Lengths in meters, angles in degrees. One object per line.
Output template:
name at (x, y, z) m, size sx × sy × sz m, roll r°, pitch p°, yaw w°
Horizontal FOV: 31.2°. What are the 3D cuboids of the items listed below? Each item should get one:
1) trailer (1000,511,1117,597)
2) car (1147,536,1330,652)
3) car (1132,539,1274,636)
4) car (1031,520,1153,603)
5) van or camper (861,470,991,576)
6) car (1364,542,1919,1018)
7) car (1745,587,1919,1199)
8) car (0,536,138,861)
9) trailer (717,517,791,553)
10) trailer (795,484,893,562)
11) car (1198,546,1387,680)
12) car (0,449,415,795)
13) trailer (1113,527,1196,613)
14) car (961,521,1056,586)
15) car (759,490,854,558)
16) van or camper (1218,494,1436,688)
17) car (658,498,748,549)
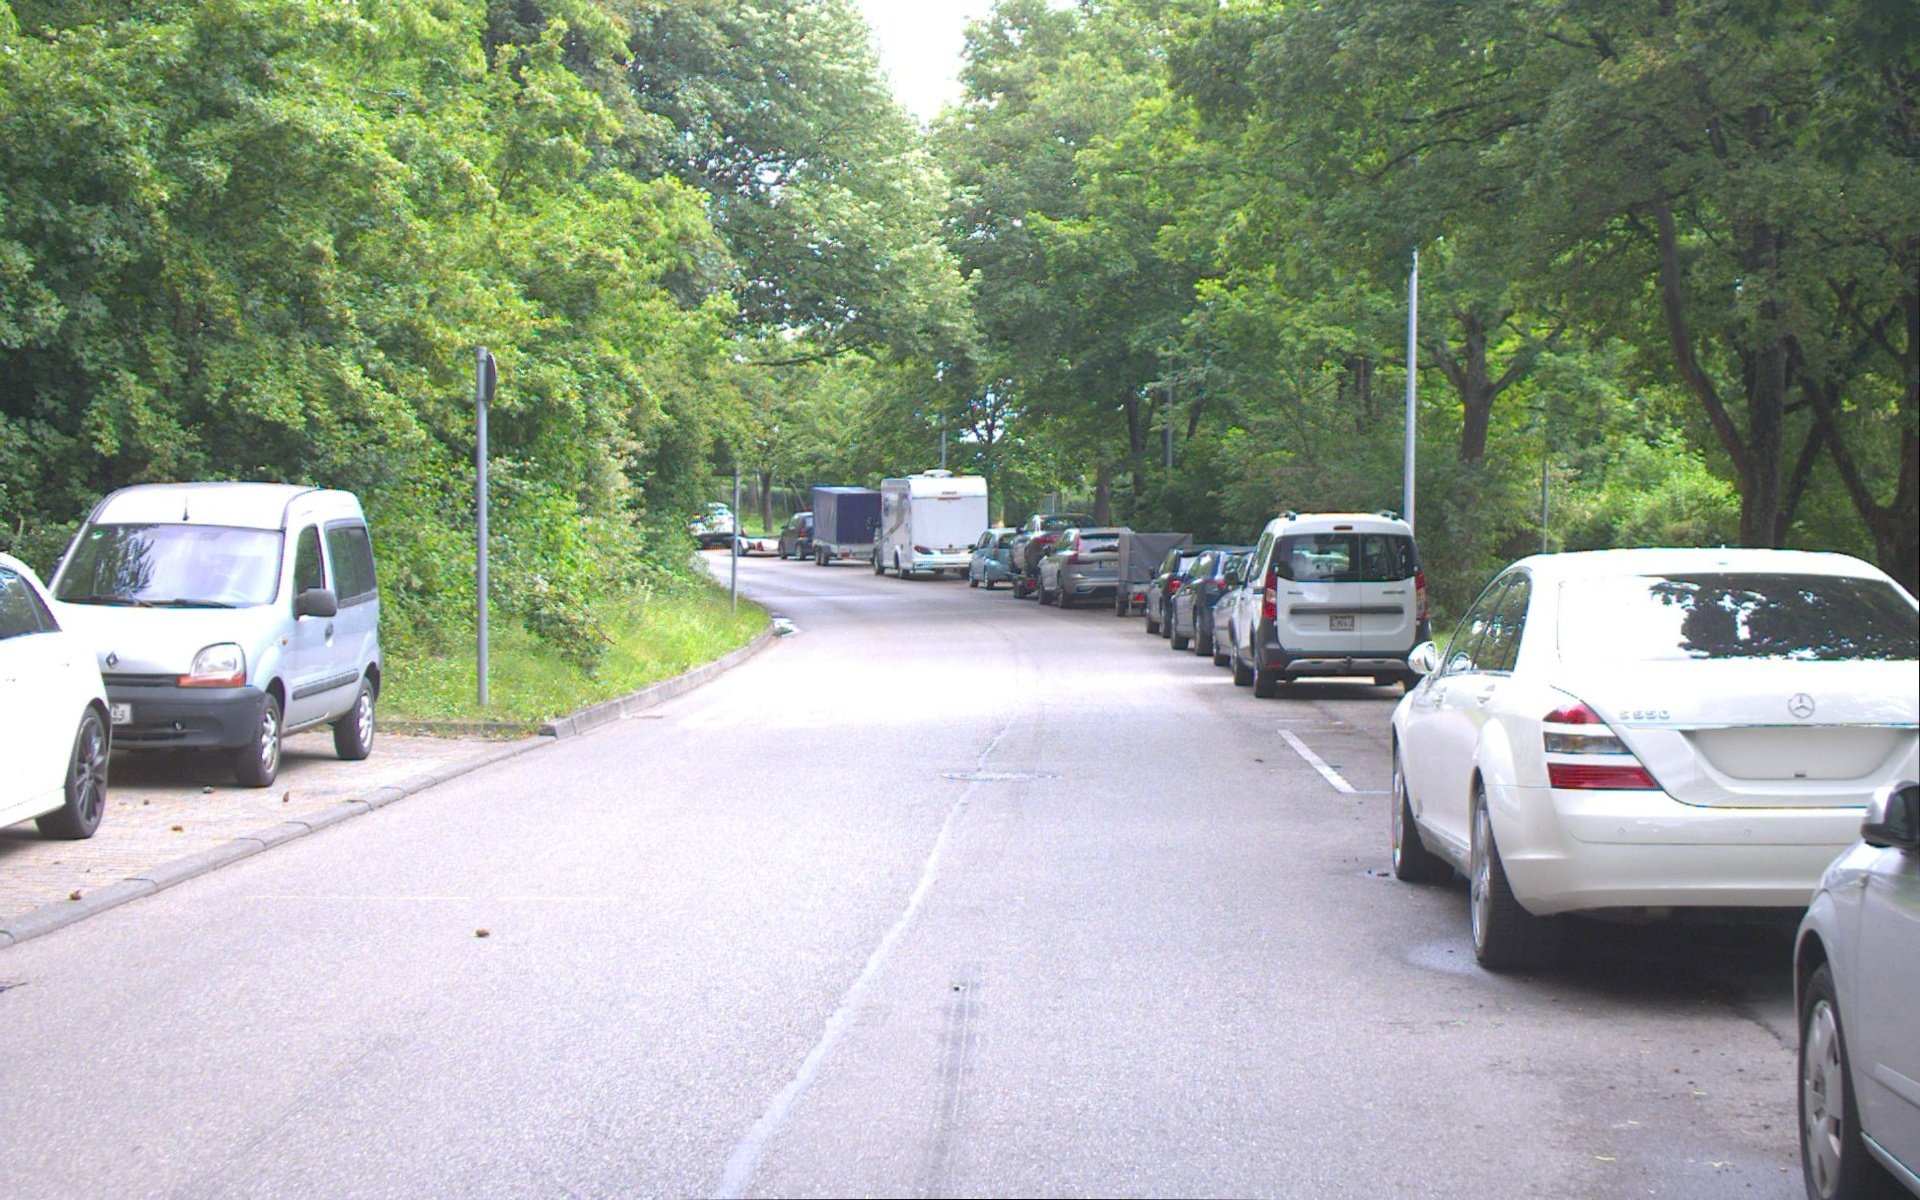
trailer at (2.186, -1.070, 77.554) m, size 1.978 × 1.805 × 5.150 m, roll 0°, pitch 2°, yaw -6°
car at (3.753, -0.119, 47.117) m, size 1.847 × 1.469 × 4.480 m, roll 1°, pitch 1°, yaw -4°
car at (3.791, -0.224, 54.204) m, size 1.720 × 1.448 × 3.918 m, roll 1°, pitch 1°, yaw -3°
car at (2.692, -0.772, 71.045) m, size 1.791 × 1.664 × 4.503 m, roll 0°, pitch 0°, yaw -7°
van or camper at (-1.020, -2.198, 97.117) m, size 2.481 × 2.866 × 6.892 m, roll 0°, pitch 1°, yaw -11°
car at (2.797, 0.539, 13.647) m, size 1.886 × 1.501 × 5.176 m, roll 0°, pitch 1°, yaw 1°
car at (2.688, 0.708, 6.205) m, size 1.793 × 1.406 × 4.059 m, roll 0°, pitch 1°, yaw 3°
car at (-5.107, 0.416, 15.193) m, size 1.805 × 1.398 × 4.372 m, roll 2°, pitch 1°, yaw 1°
trailer at (-7.025, -2.225, 116.712) m, size 1.651 × 1.083 × 4.002 m, roll -2°, pitch 3°, yaw -16°
trailer at (-3.660, -2.421, 107.667) m, size 1.993 × 2.390 × 4.001 m, roll 0°, pitch 2°, yaw -18°
car at (3.896, 0.116, 40.856) m, size 1.813 × 1.432 × 4.243 m, roll 2°, pitch 1°, yaw 0°
car at (-4.782, 0.057, 21.787) m, size 1.721 × 1.914 × 4.104 m, roll 3°, pitch 2°, yaw 3°
trailer at (3.665, -0.582, 64.982) m, size 1.278 × 1.579 × 2.461 m, roll 1°, pitch 1°, yaw -3°
car at (1.205, -1.199, 86.883) m, size 1.799 × 1.556 × 3.836 m, roll 0°, pitch 2°, yaw -8°
car at (-5.054, -2.523, 113.006) m, size 1.993 × 2.018 × 4.002 m, roll -3°, pitch 4°, yaw -19°
van or camper at (3.681, -0.079, 35.105) m, size 1.802 × 1.831 × 4.320 m, roll 1°, pitch 0°, yaw 1°
car at (-9.425, -2.812, 125.717) m, size 2.034 × 1.797 × 4.084 m, roll -1°, pitch 2°, yaw -24°
